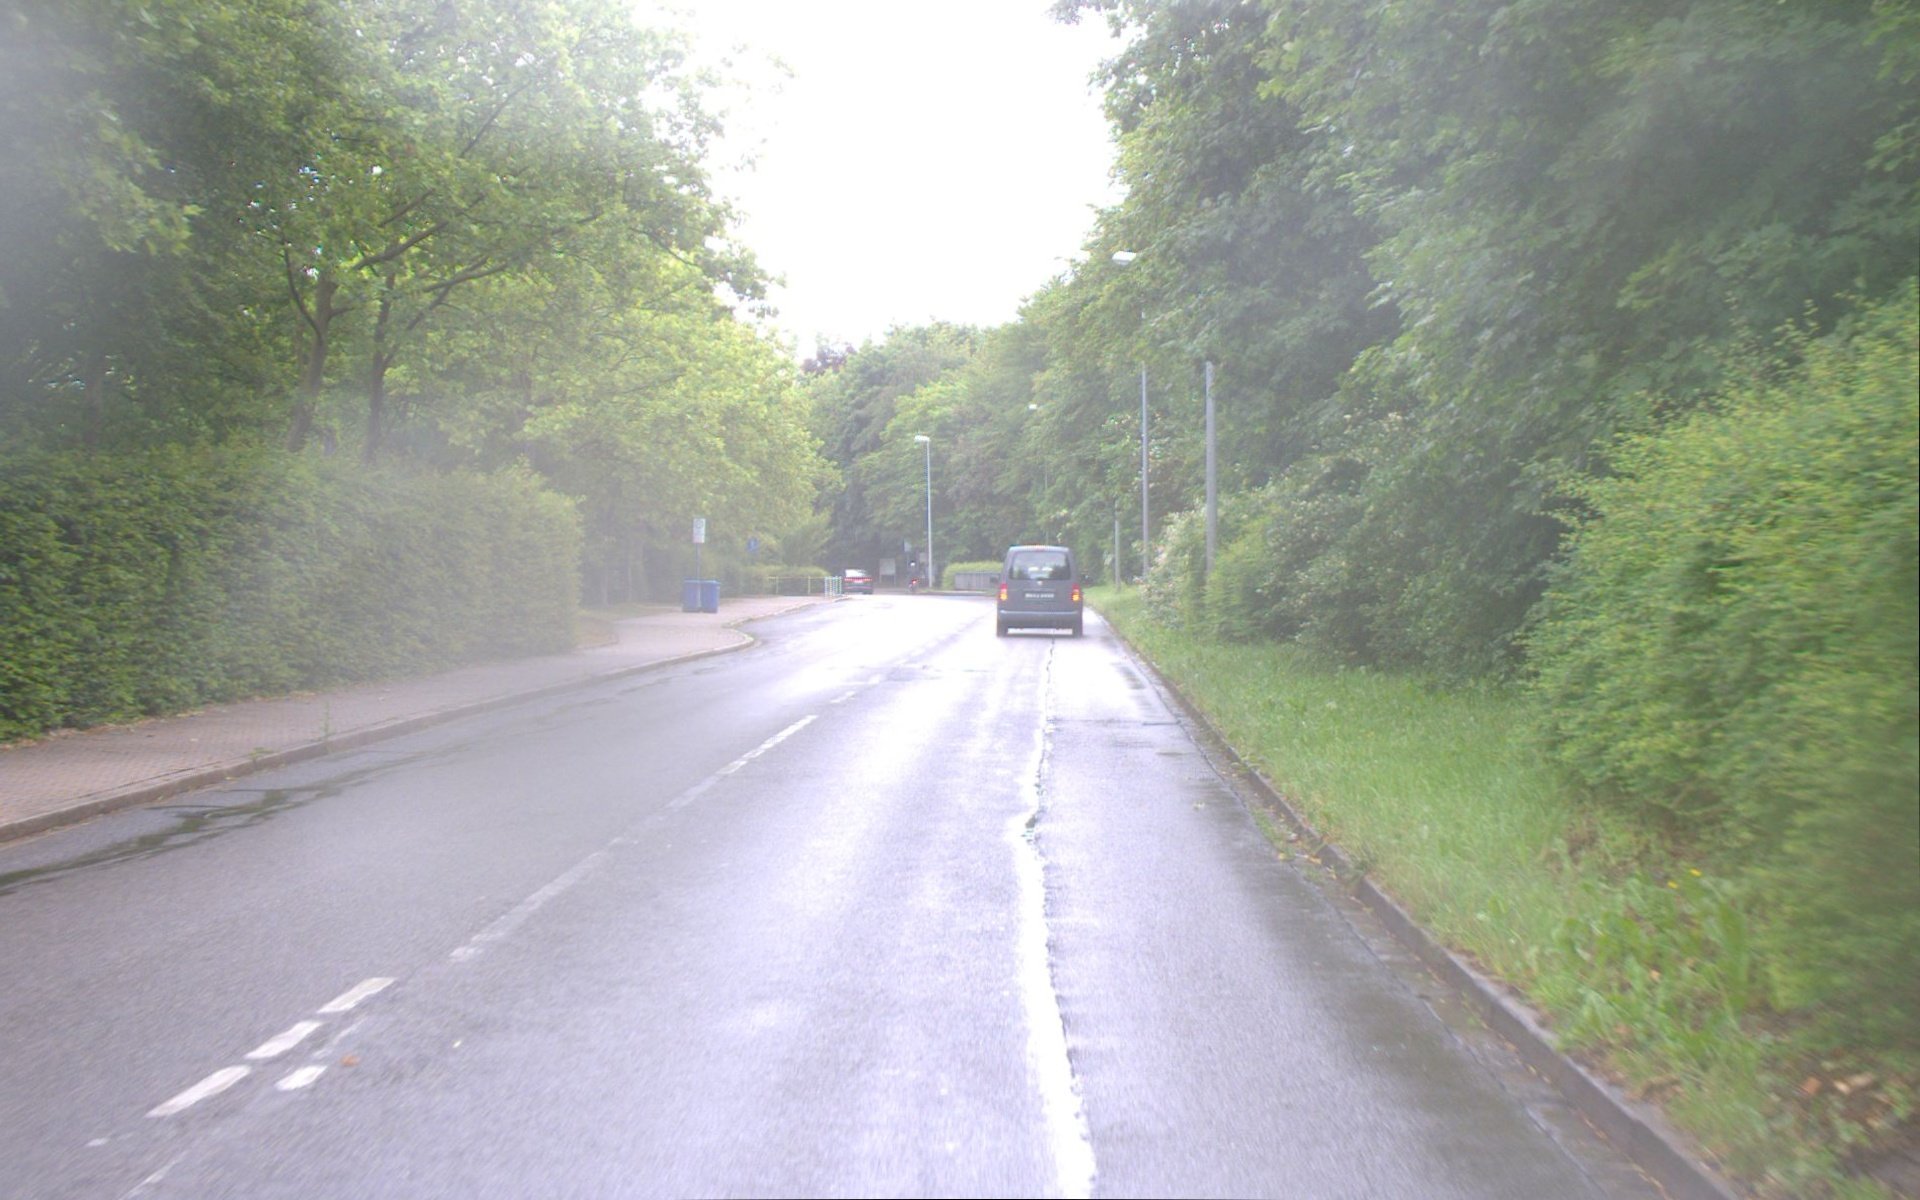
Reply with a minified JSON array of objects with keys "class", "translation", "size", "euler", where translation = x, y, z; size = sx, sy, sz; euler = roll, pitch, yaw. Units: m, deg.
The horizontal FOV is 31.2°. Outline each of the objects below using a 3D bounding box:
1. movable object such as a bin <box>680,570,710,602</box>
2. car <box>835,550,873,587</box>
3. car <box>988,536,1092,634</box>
[{"class":"movable object such as a bin","translation":[-8.808,-0.465,114.339],"size":[0.666,1.023,0.835],"euler":[-3,1,-30]},{"class":"car","translation":[-6.027,-1.822,195.237],"size":[1.993,2.007,4.000],"euler":[2,1,0]},{"class":"car","translation":[1.661,-0.337,70.149],"size":[1.994,1.787,4.000],"euler":[2,2,2]}]
